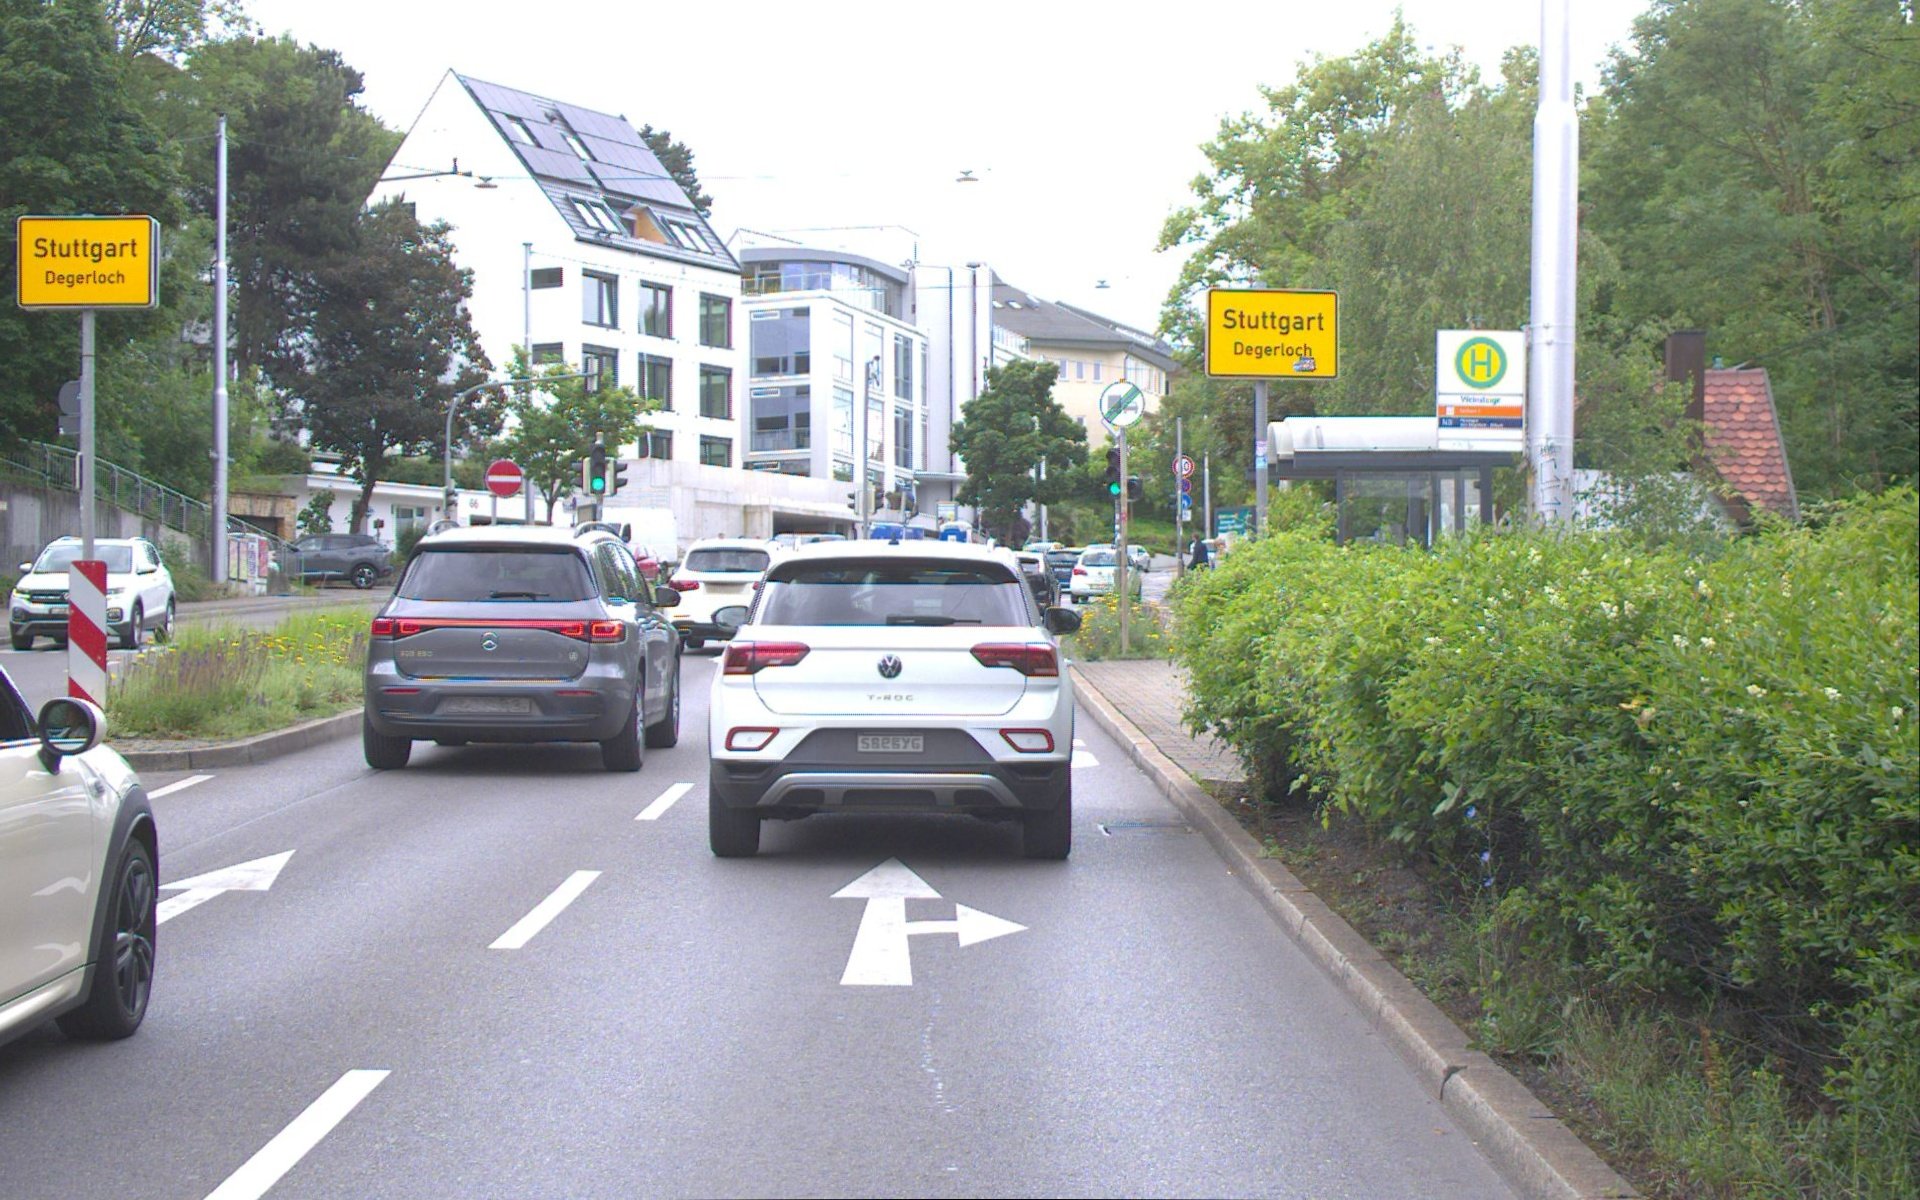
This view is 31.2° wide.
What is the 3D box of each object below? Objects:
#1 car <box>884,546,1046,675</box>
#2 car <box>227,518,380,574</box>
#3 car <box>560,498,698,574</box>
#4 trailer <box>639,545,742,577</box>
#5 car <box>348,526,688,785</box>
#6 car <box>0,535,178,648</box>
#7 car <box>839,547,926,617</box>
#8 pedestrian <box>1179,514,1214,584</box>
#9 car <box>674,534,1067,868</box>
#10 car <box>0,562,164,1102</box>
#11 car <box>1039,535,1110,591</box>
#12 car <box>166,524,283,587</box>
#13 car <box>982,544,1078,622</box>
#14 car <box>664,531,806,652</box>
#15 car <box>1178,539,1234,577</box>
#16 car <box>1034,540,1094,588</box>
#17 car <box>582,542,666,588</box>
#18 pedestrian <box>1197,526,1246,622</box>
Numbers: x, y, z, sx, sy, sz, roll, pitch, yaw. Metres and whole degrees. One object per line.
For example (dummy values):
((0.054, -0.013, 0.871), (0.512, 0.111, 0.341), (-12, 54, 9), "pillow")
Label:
((0.017, 0.095, 42.272), (1.858, 1.495, 4.056), (0, 1, -2), "car")
((-18.326, -1.507, 96.034), (4.118, 1.534, 1.599), (0, 1, -8), "car")
((-11.412, -2.219, 119.238), (2.233, 2.559, 7.416), (0, 1, 16), "car")
((-9.776, -1.424, 125.009), (2.248, 1.108, 4.619), (0, 1, 16), "trailer")
((-3.016, 0.319, 24.365), (1.813, 1.646, 4.636), (0, 1, 0), "car")
((-12.487, -0.154, 49.498), (1.728, 1.535, 4.044), (1, 1, -3), "car")
((-1.730, -0.418, 76.311), (1.858, 1.495, 4.056), (0, 1, -2), "car")
((6.248, -1.355, 90.940), (0.693, 1.827, 0.620), (1, 1, -20), "pedestrian")
((-0.467, 0.440, 17.807), (1.811, 1.534, 3.690), (0, 1, -2), "car")
((-3.305, 0.609, 9.043), (1.628, 1.388, 3.566), (0, 1, -1), "car")
((3.152, -1.034, 95.220), (1.858, 1.495, 4.056), (0, 1, 1), "car")
((-19.543, -1.184, 91.341), (2.701, 1.515, 1.564), (3, 0, -23), "car")
((1.520, -0.377, 73.071), (1.873, 1.496, 4.555), (3, 1, 2), "car")
((-3.210, -0.152, 49.730), (1.858, 1.646, 4.636), (0, 1, -2), "car")
((9.858, -1.705, 137.588), (1.859, 1.495, 4.054), (0, 1, 9), "car")
((3.306, -1.163, 109.178), (1.858, 1.495, 4.055), (0, 1, 2), "car")
((-10.882, -1.154, 111.552), (1.622, 1.460, 3.925), (0, 1, 12), "car")
((4.634, -0.459, 61.019), (0.694, 1.683, 0.619), (-1, 0, 22), "pedestrian")
